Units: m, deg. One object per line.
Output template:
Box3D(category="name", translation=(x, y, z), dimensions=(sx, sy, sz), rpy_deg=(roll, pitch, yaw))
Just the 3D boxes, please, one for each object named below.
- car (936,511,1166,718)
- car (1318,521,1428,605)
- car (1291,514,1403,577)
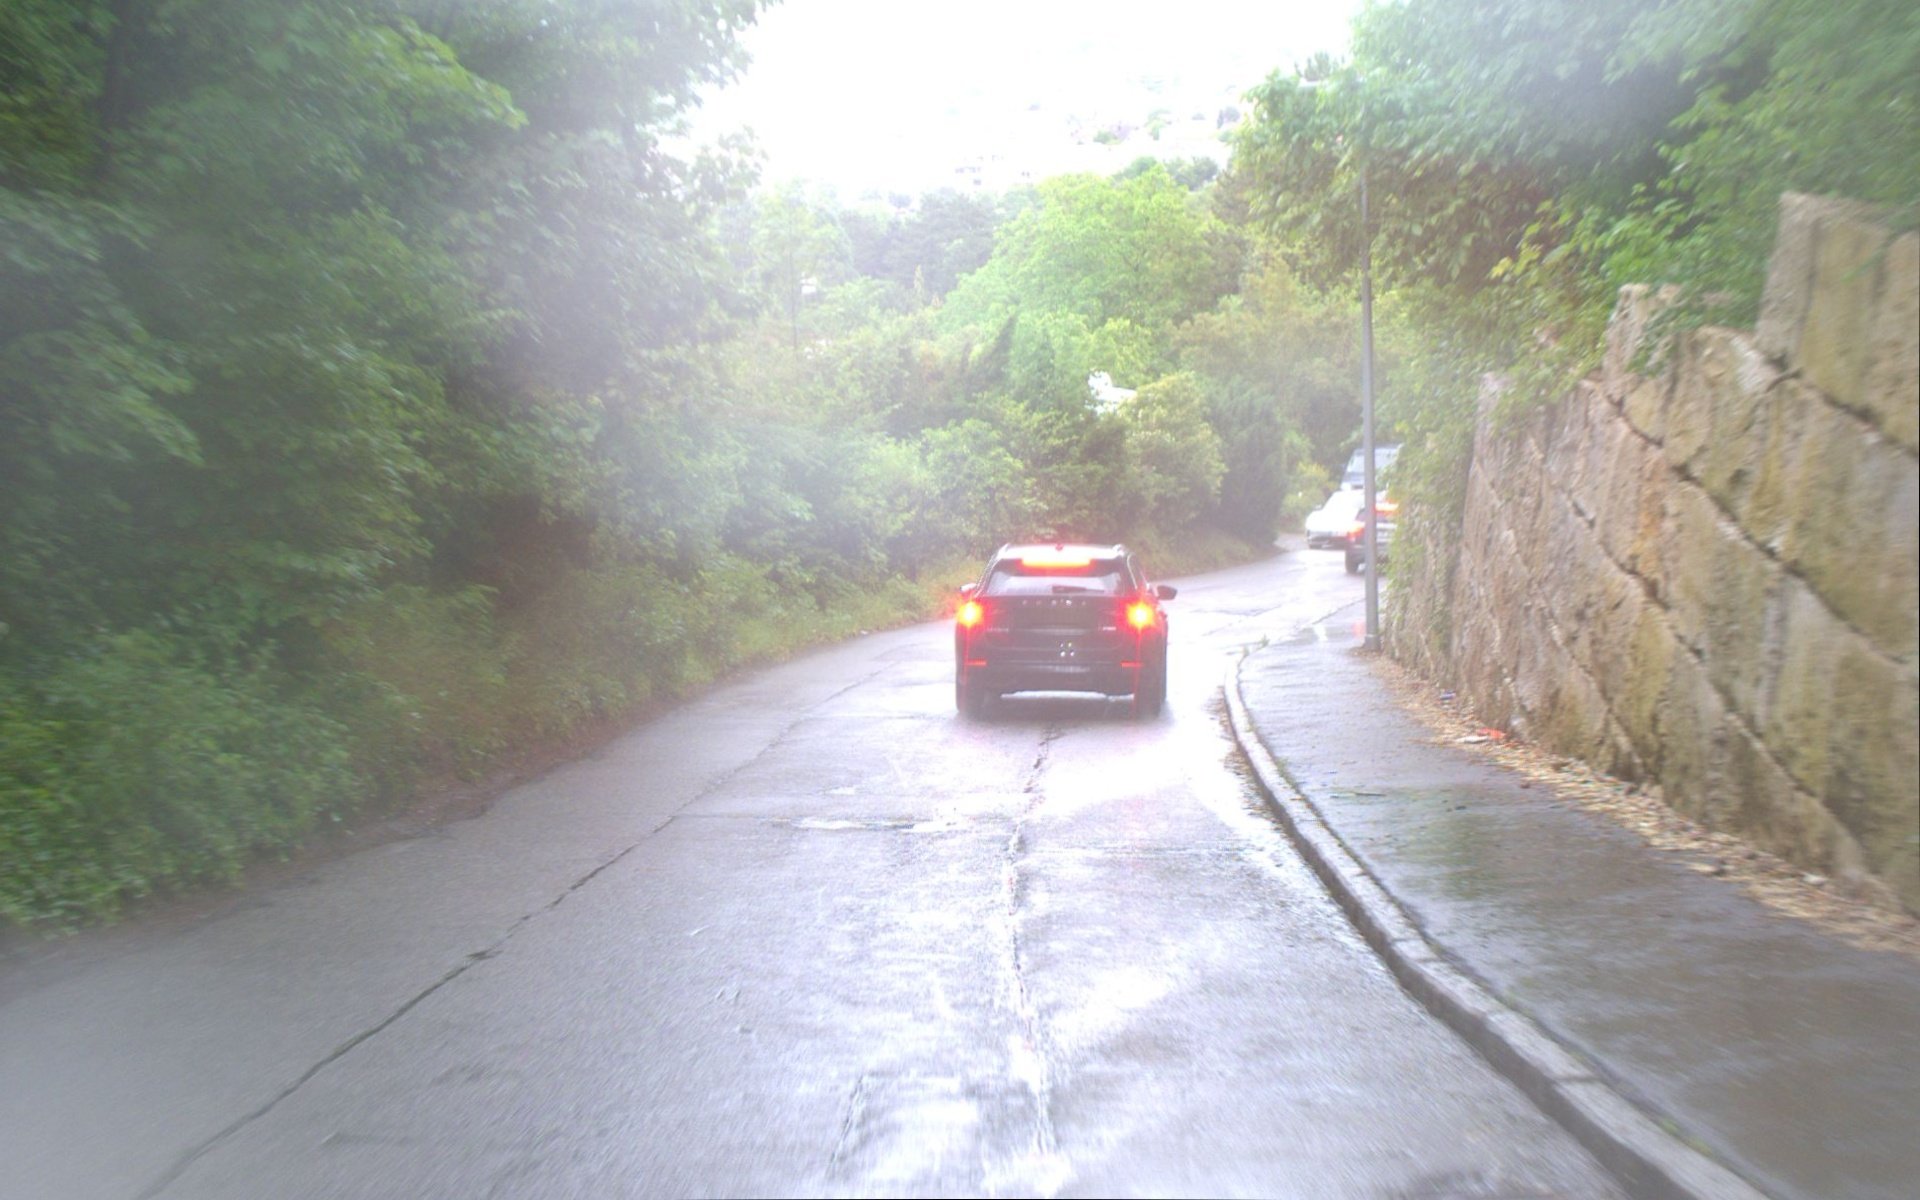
Box3D(category="car", translation=(0.869, 0.072, 30.259), dimensions=(1.700, 1.445, 4.000), rpy_deg=(0, 5, 6))
Box3D(category="car", translation=(9.032, -0.814, 74.882), dimensions=(1.864, 1.737, 3.998), rpy_deg=(1, 1, 14))
Box3D(category="car", translation=(9.691, -1.360, 85.828), dimensions=(1.942, 1.517, 4.575), rpy_deg=(1, 1, 17))
